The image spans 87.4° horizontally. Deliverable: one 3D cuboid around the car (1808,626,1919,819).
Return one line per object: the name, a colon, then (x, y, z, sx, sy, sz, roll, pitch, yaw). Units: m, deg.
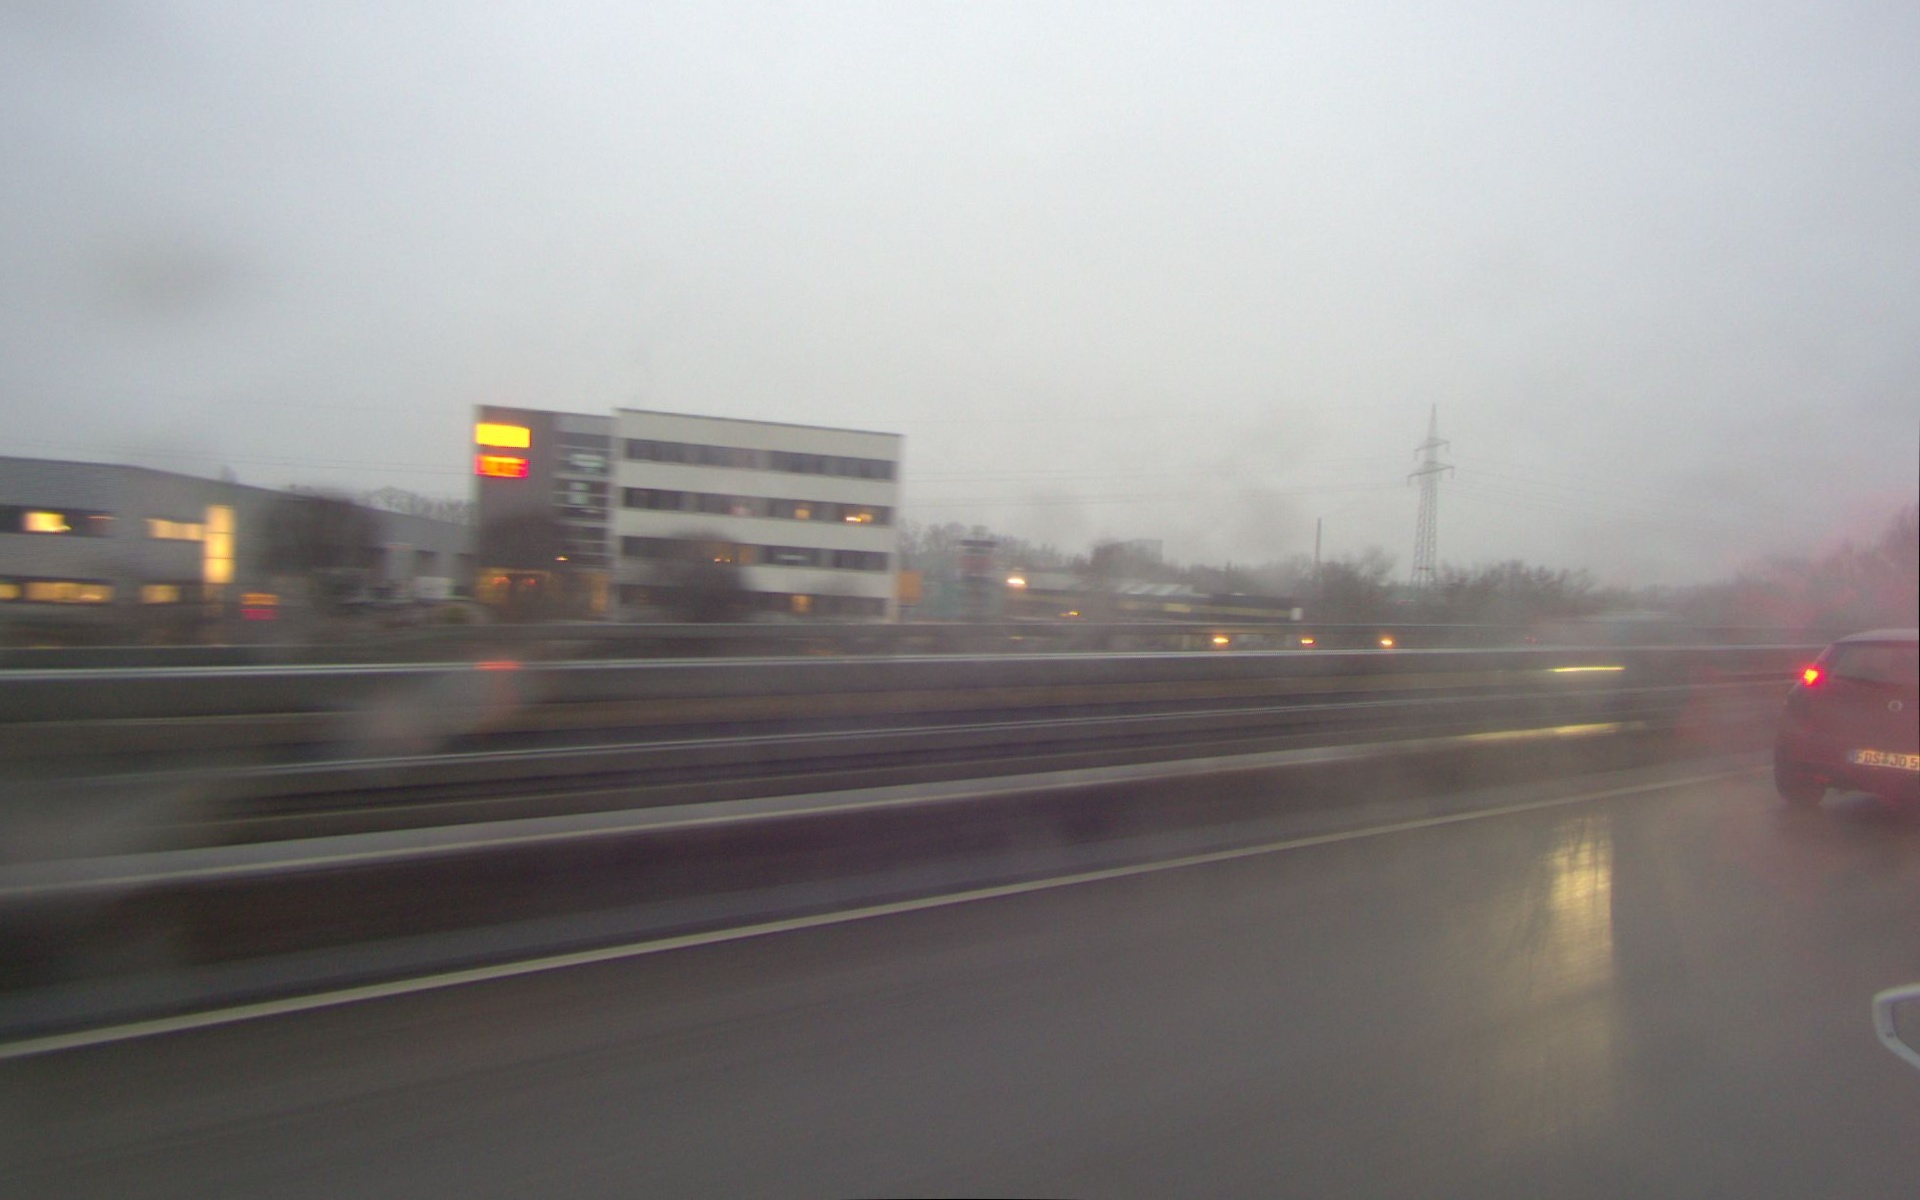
car: (8.818, 0.948, 8.342, 3.956, 1.410, 1.616, 1, -1, -32)

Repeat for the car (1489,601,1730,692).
car: (11.570, 0.792, 17.837, 4.451, 1.424, 1.672, 0, -3, -29)
